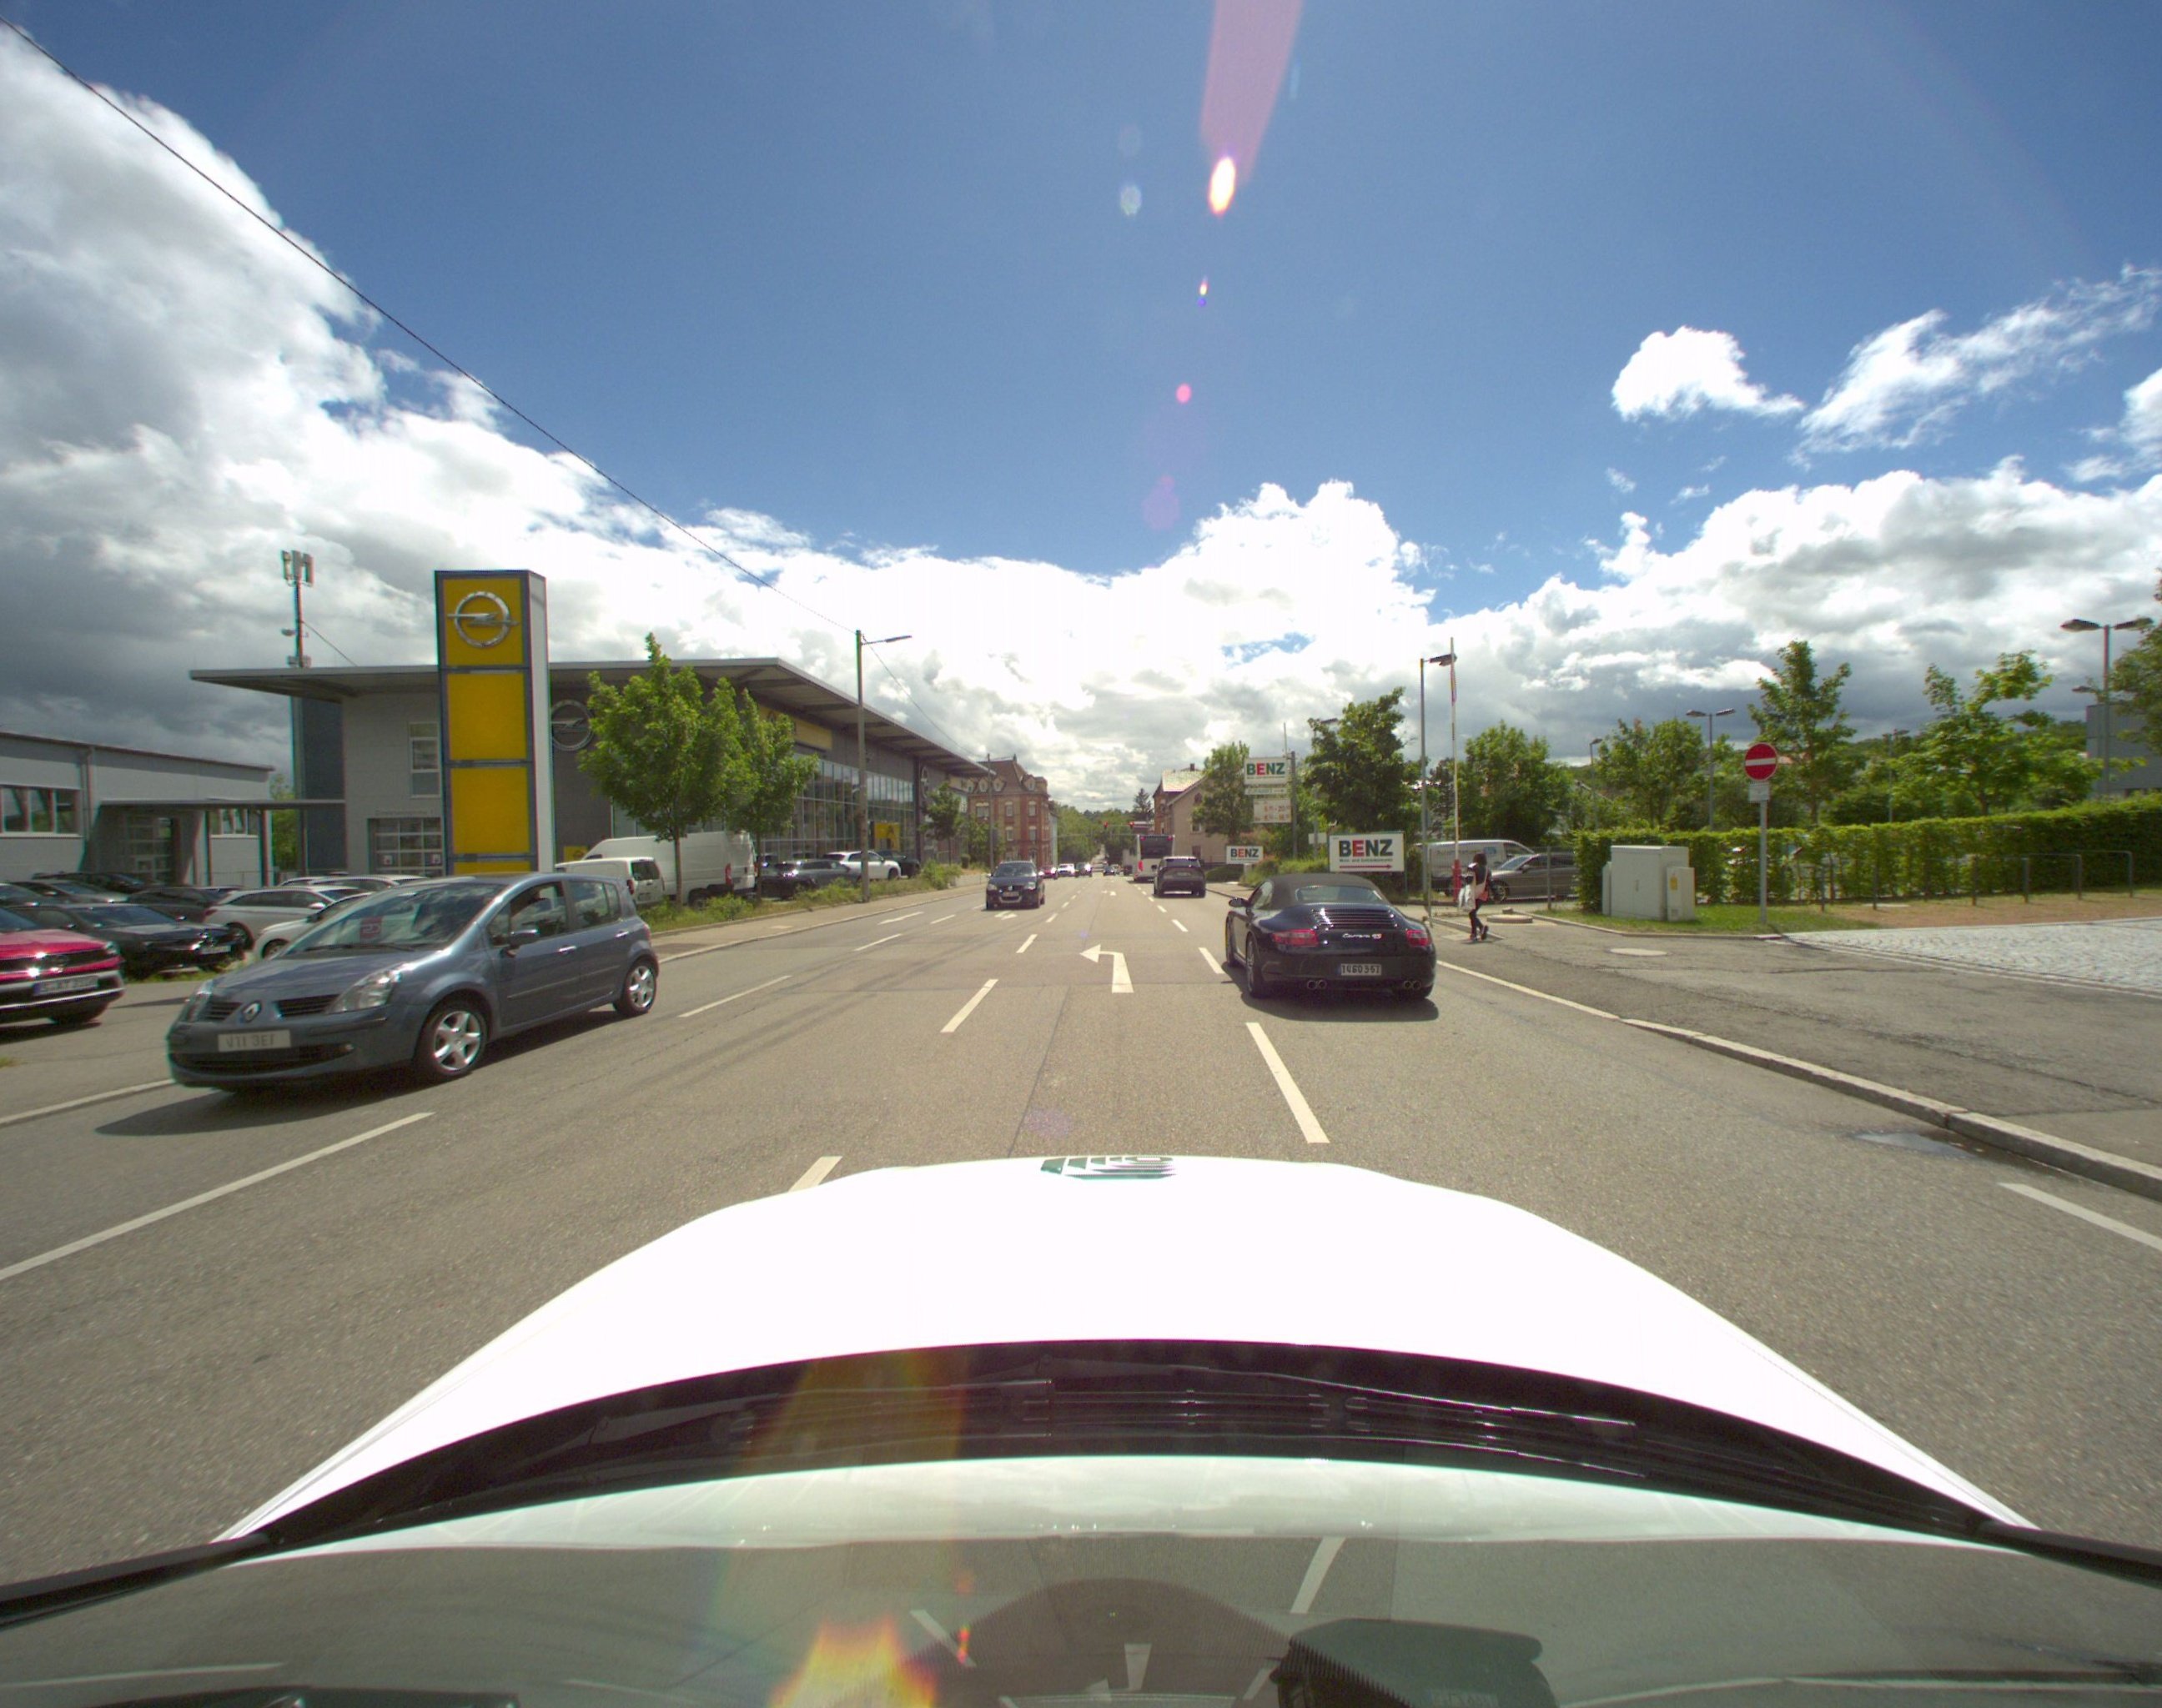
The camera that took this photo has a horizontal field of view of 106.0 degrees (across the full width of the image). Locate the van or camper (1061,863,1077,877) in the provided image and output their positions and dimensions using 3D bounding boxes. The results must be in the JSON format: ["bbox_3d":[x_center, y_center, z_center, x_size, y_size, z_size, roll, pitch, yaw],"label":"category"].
[{"bbox_3d":[-1.657,2.278,115.260,1.963,1.914,5.130,-1,-1,1],"label":"van or camper"}]

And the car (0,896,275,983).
[{"bbox_3d":[-18.365,1.578,15.469,4.212,1.409,1.929,-1,-1,1],"label":"car"}]

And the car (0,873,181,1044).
[{"bbox_3d":[-12.504,1.185,8.615,3.971,1.588,1.755,-4,1,3],"label":"car"}]

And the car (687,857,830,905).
[{"bbox_3d":[-11.770,0.945,29.875,4.500,1.509,1.920,-2,-1,-40],"label":"car"}]

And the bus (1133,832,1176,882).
[{"bbox_3d":[5.224,0.046,59.408,2.790,3.197,12.210,-1,2,4],"label":"bus"}]

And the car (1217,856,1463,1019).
[{"bbox_3d":[2.755,0.788,9.679,1.921,1.376,4.215,-1,1,5],"label":"car"}]

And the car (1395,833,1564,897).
[{"bbox_3d":[13.461,0.362,27.679,4.700,1.848,2.085,-3,-1,-6],"label":"car"}]

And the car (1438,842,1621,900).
[{"bbox_3d":[13.568,0.507,24.844,4.416,1.481,2.000,-3,-1,1],"label":"car"}]

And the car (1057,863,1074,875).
[{"bbox_3d":[-1.869,1.861,102.039,1.856,1.540,4.109,-1,-1,2],"label":"car"}]

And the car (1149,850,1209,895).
[{"bbox_3d":[3.879,0.708,32.851,1.924,1.583,4.208,-1,1,0],"label":"car"}]

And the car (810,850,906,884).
[{"bbox_3d":[-10.727,0.608,39.566,1.913,1.573,4.580,-2,-1,26],"label":"car"}]

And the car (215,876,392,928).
[{"bbox_3d":[-24.732,1.493,26.027,3.688,1.398,1.845,-1,1,-4],"label":"car"}]

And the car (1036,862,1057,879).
[{"bbox_3d":[-3.320,1.580,78.998,1.865,1.491,3.848,-4,0,0],"label":"car"}]

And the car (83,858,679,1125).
[{"bbox_3d":[-5.599,0.917,7.371,1.737,1.595,4.043,-4,0,1],"label":"car"}]

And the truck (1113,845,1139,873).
[{"bbox_3d":[5.513,0.658,100.486,2.658,3.108,9.034,-2,-1,0],"label":"truck"}]

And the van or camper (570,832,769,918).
[{"bbox_3d":[-12.925,0.606,25.848,5.008,2.530,2.319,-1,1,1],"label":"van or camper"}]

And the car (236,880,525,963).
[{"bbox_3d":[-13.740,1.284,16.177,3.973,1.409,2.000,-1,0,0],"label":"car"}]

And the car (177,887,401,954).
[{"bbox_3d":[-19.762,1.622,20.461,3.685,1.398,1.847,-1,1,-1],"label":"car"}]

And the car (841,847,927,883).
[{"bbox_3d":[-10.659,0.562,44.411,1.975,1.698,4.513,0,2,28],"label":"car"}]

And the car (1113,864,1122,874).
[{"bbox_3d":[7.414,3.109,165.859,1.826,1.881,4.001,-2,0,1],"label":"car"}]

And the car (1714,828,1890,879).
[{"bbox_3d":[24.748,-0.022,28.058,4.419,1.491,1.888,-2,0,-1],"label":"car"}]

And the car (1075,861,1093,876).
[{"bbox_3d":[0.363,1.621,90.986,1.857,1.540,4.108,-1,-1,1],"label":"car"}]

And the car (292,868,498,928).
[{"bbox_3d":[-19.370,1.213,23.135,4.212,1.536,1.929,-1,-1,1],"label":"car"}]

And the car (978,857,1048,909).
[{"bbox_3d":[-2.130,0.891,26.677,1.823,1.509,4.277,-2,0,1],"label":"car"}]

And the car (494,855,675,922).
[{"bbox_3d":[-14.113,0.957,23.276,3.965,1.705,2.005,-1,1,7],"label":"car"}]

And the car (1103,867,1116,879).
[{"bbox_3d":[4.210,2.753,120.805,1.857,1.666,4.260,-2,-1,1],"label":"car"}]

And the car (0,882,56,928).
[{"bbox_3d":[-36.649,1.728,26.656,3.474,1.398,1.654,-2,1,-16],"label":"car"}]

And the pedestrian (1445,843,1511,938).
[{"bbox_3d":[6.705,0.593,13.792,0.685,1.536,0.856,-2,0,2],"label":"pedestrian"}]

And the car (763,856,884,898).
[{"bbox_3d":[-10.751,0.899,34.397,1.876,1.450,4.863,0,2,30],"label":"car"}]

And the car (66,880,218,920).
[{"bbox_3d":[-36.436,1.753,31.712,3.474,1.284,1.654,-2,2,-16],"label":"car"}]
